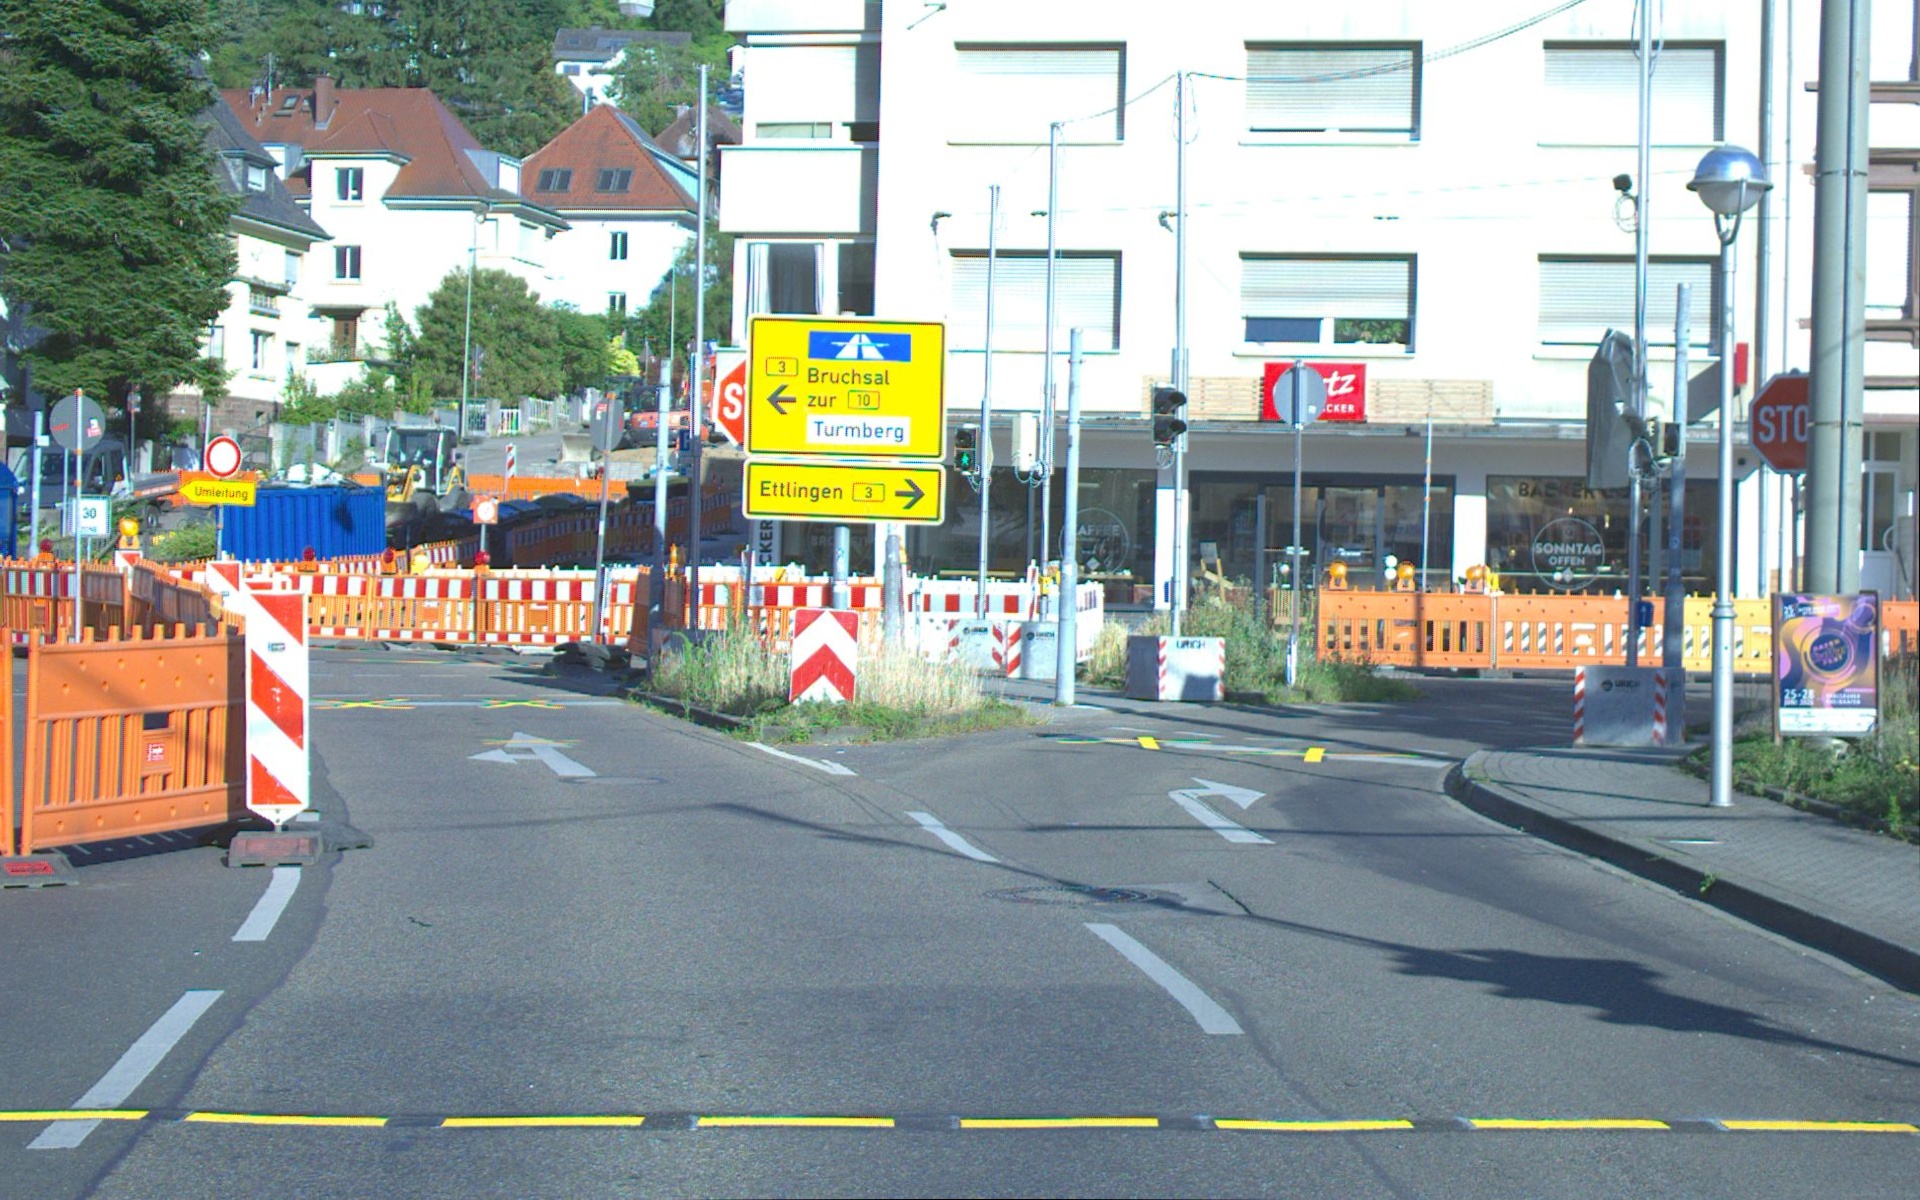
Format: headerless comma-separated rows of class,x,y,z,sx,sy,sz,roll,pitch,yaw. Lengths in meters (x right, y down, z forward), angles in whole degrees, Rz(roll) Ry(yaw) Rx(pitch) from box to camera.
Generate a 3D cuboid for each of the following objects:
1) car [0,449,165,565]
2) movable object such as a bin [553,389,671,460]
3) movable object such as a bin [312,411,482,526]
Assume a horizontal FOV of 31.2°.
car,-18.048,-1.754,66.150,2.585,2.113,6.145,1,1,18
movable object such as a bin,-11.588,-5.837,114.844,2.566,2.114,5.782,1,1,8
movable object such as a bin,-12.887,-2.988,78.949,1.950,2.486,4.547,1,1,18
